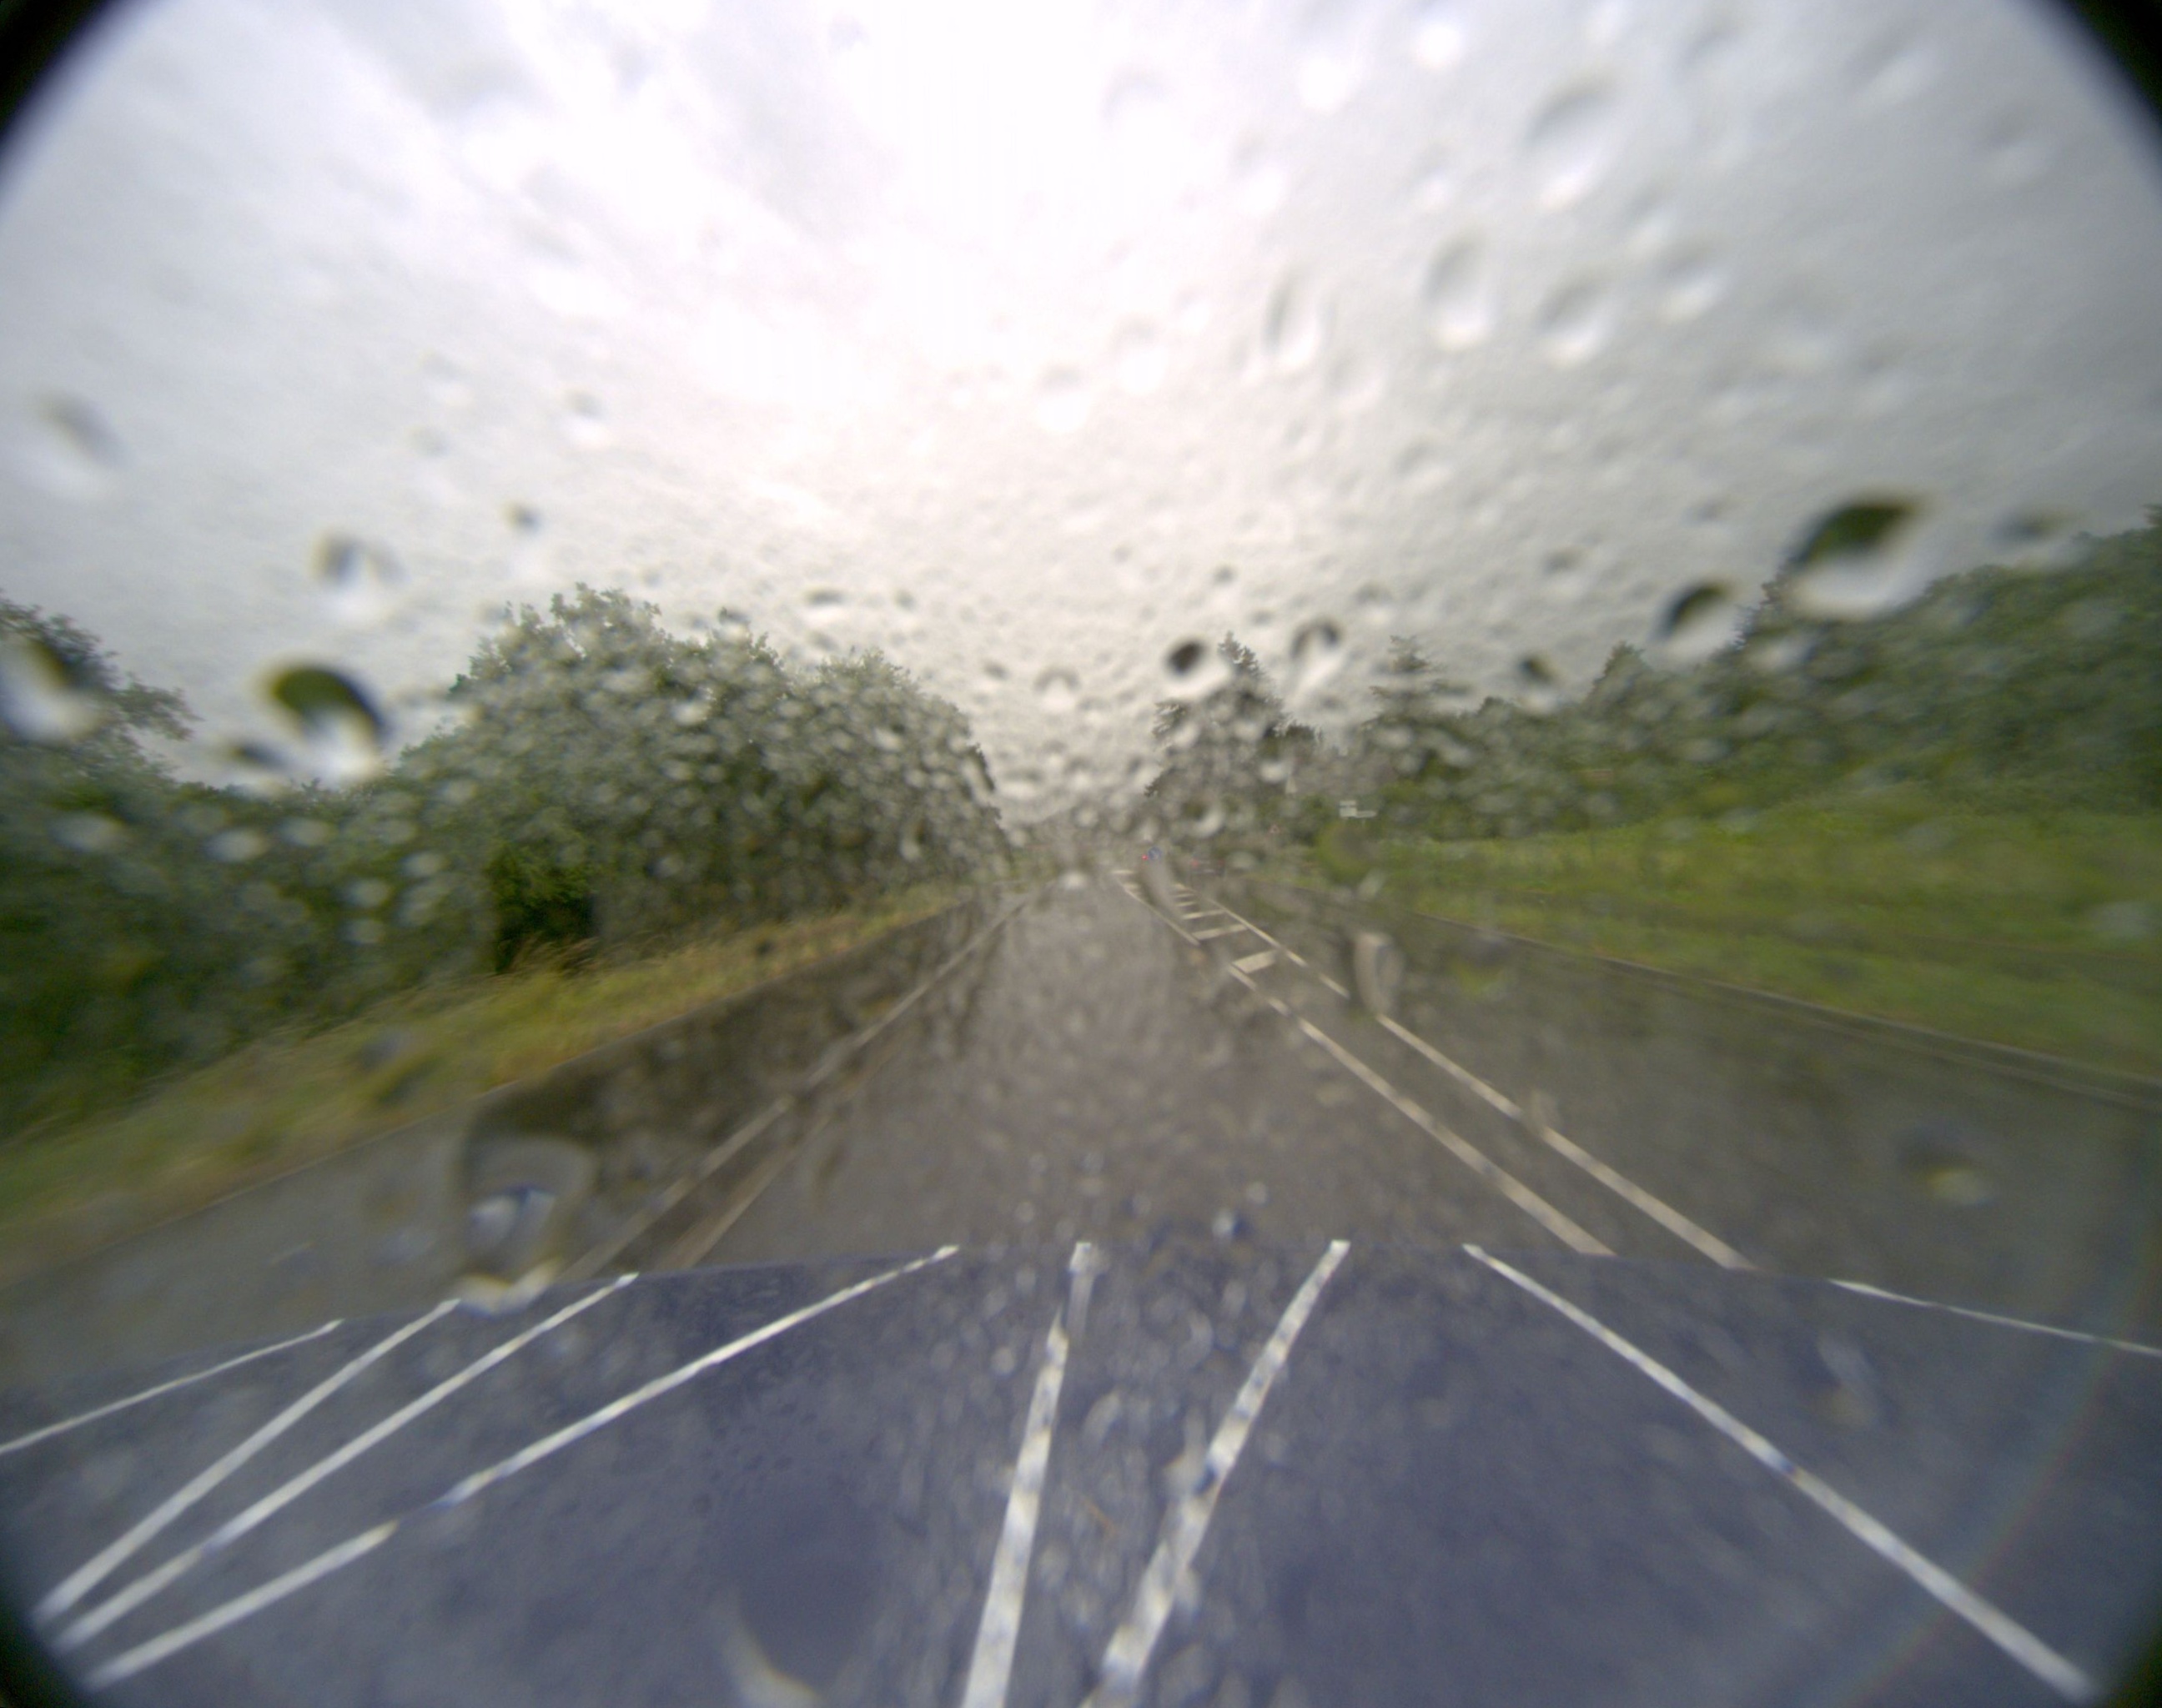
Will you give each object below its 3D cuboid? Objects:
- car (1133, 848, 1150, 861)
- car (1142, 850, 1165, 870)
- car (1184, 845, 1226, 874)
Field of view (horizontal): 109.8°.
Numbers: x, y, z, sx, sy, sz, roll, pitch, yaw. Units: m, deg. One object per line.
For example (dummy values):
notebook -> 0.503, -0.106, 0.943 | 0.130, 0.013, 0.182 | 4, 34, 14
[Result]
car -> 7.512, 0.071, 94.018 | 1.746, 1.437, 3.682 | -5, 1, 0
car -> 6.533, 0.537, 68.807 | 1.745, 1.708, 4.267 | -1, 0, 1
car -> 6.405, 0.263, 39.565 | 1.701, 1.394, 3.767 | -1, 1, 2
